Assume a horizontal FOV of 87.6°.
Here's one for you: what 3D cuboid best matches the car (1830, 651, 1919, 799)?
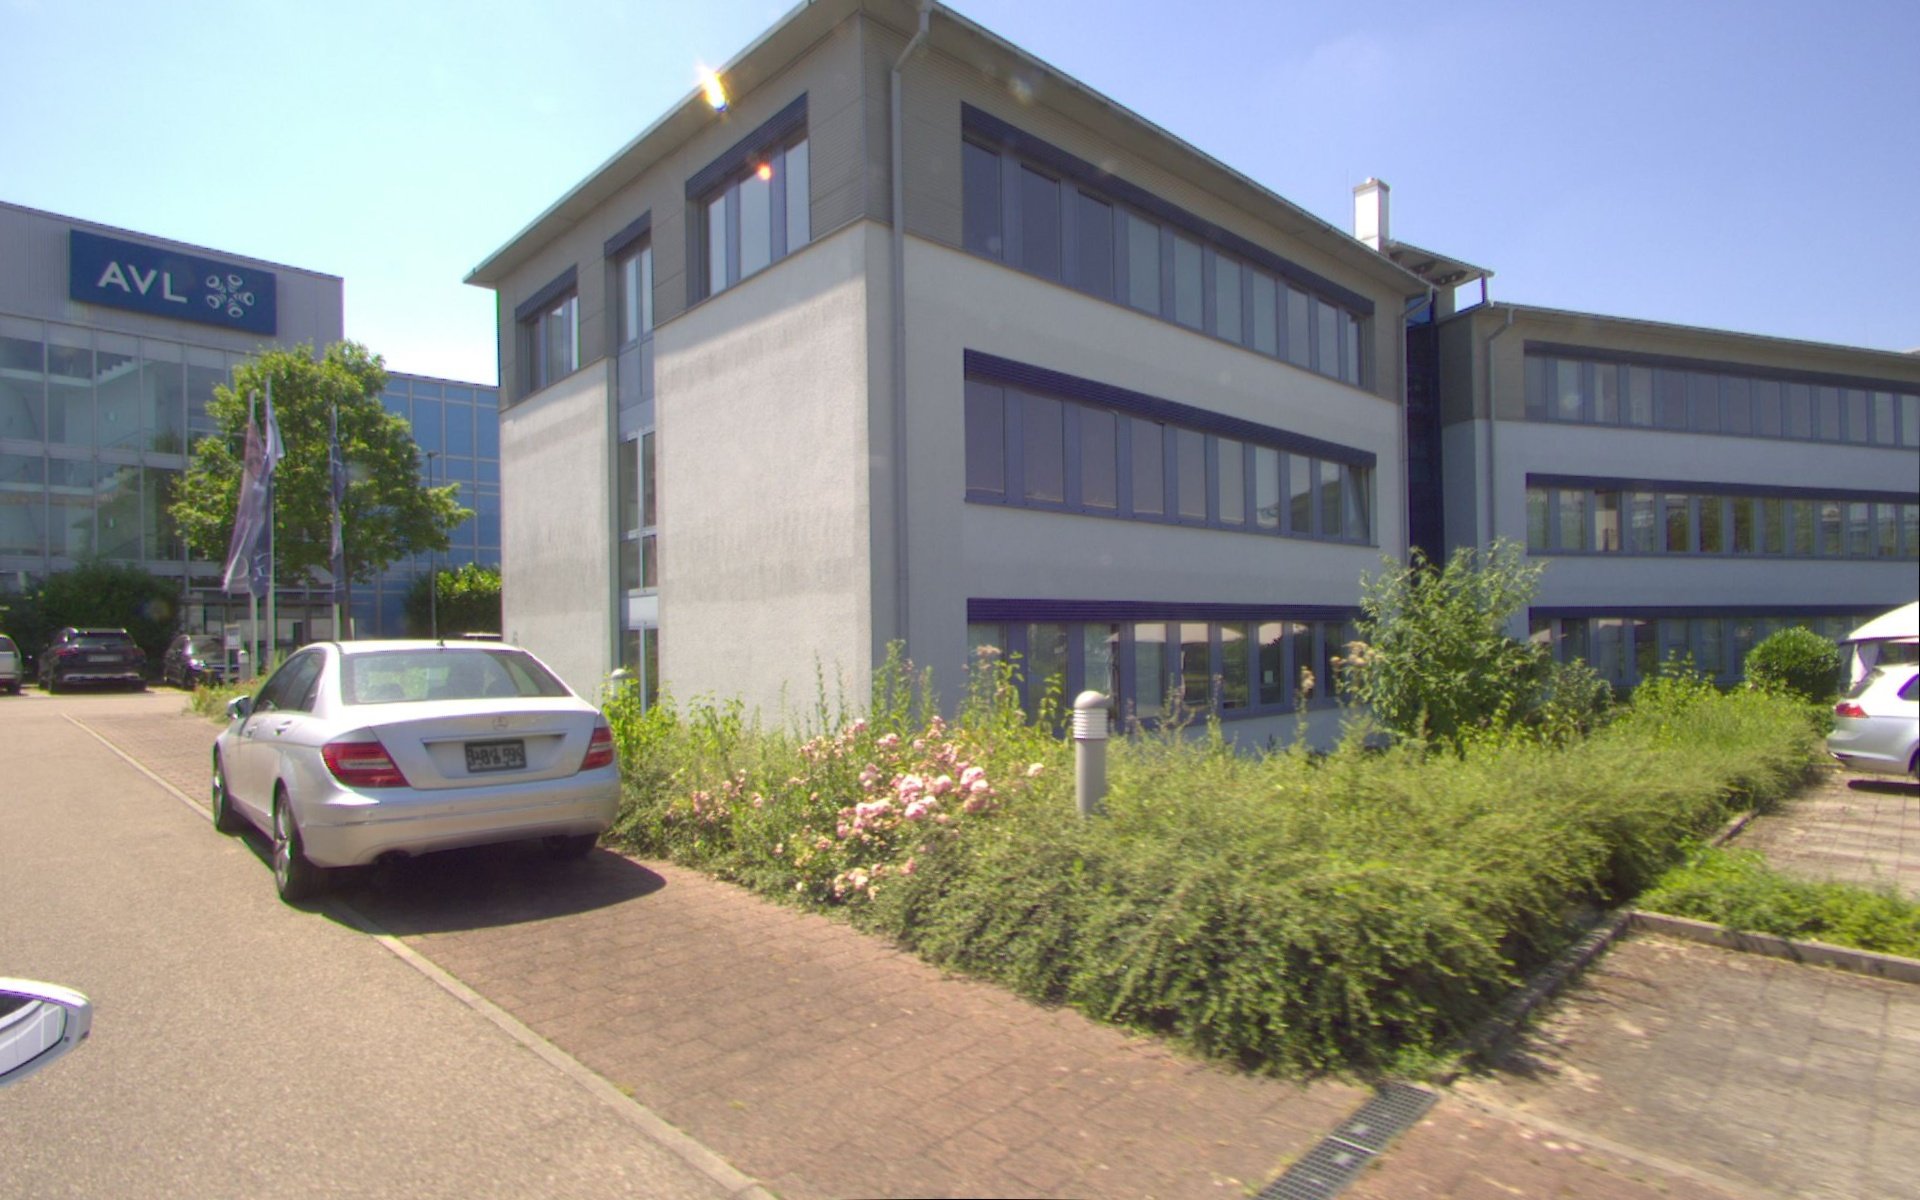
[{"bbox_3d":[11.784,1.323,10.168,4.381,1.539,1.841,-2,-3,44],"label":"car"}]

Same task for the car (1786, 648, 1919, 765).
[{"bbox_3d":[13.877,1.422,13.157,4.565,1.513,1.841,-2,-3,44],"label":"car"}]

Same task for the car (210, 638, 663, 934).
[{"bbox_3d":[-3.912,0.986,7.054,1.787,1.416,4.380,1,-3,-42],"label":"car"}]

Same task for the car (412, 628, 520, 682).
[{"bbox_3d":[-16.367,1.759,33.091,4.292,1.640,1.810,-1,-1,43],"label":"car"}]

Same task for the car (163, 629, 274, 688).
[{"bbox_3d":[-20.881,1.581,28.140,4.212,1.501,1.760,-1,-1,43],"label":"car"}]

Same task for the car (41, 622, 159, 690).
[{"bbox_3d":[-22.674,1.426,26.356,3.943,1.631,1.917,-1,-2,43],"label":"car"}]

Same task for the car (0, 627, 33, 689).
[{"bbox_3d":[-24.509,1.401,24.793,3.609,1.467,1.759,0,-2,39],"label":"car"}]
